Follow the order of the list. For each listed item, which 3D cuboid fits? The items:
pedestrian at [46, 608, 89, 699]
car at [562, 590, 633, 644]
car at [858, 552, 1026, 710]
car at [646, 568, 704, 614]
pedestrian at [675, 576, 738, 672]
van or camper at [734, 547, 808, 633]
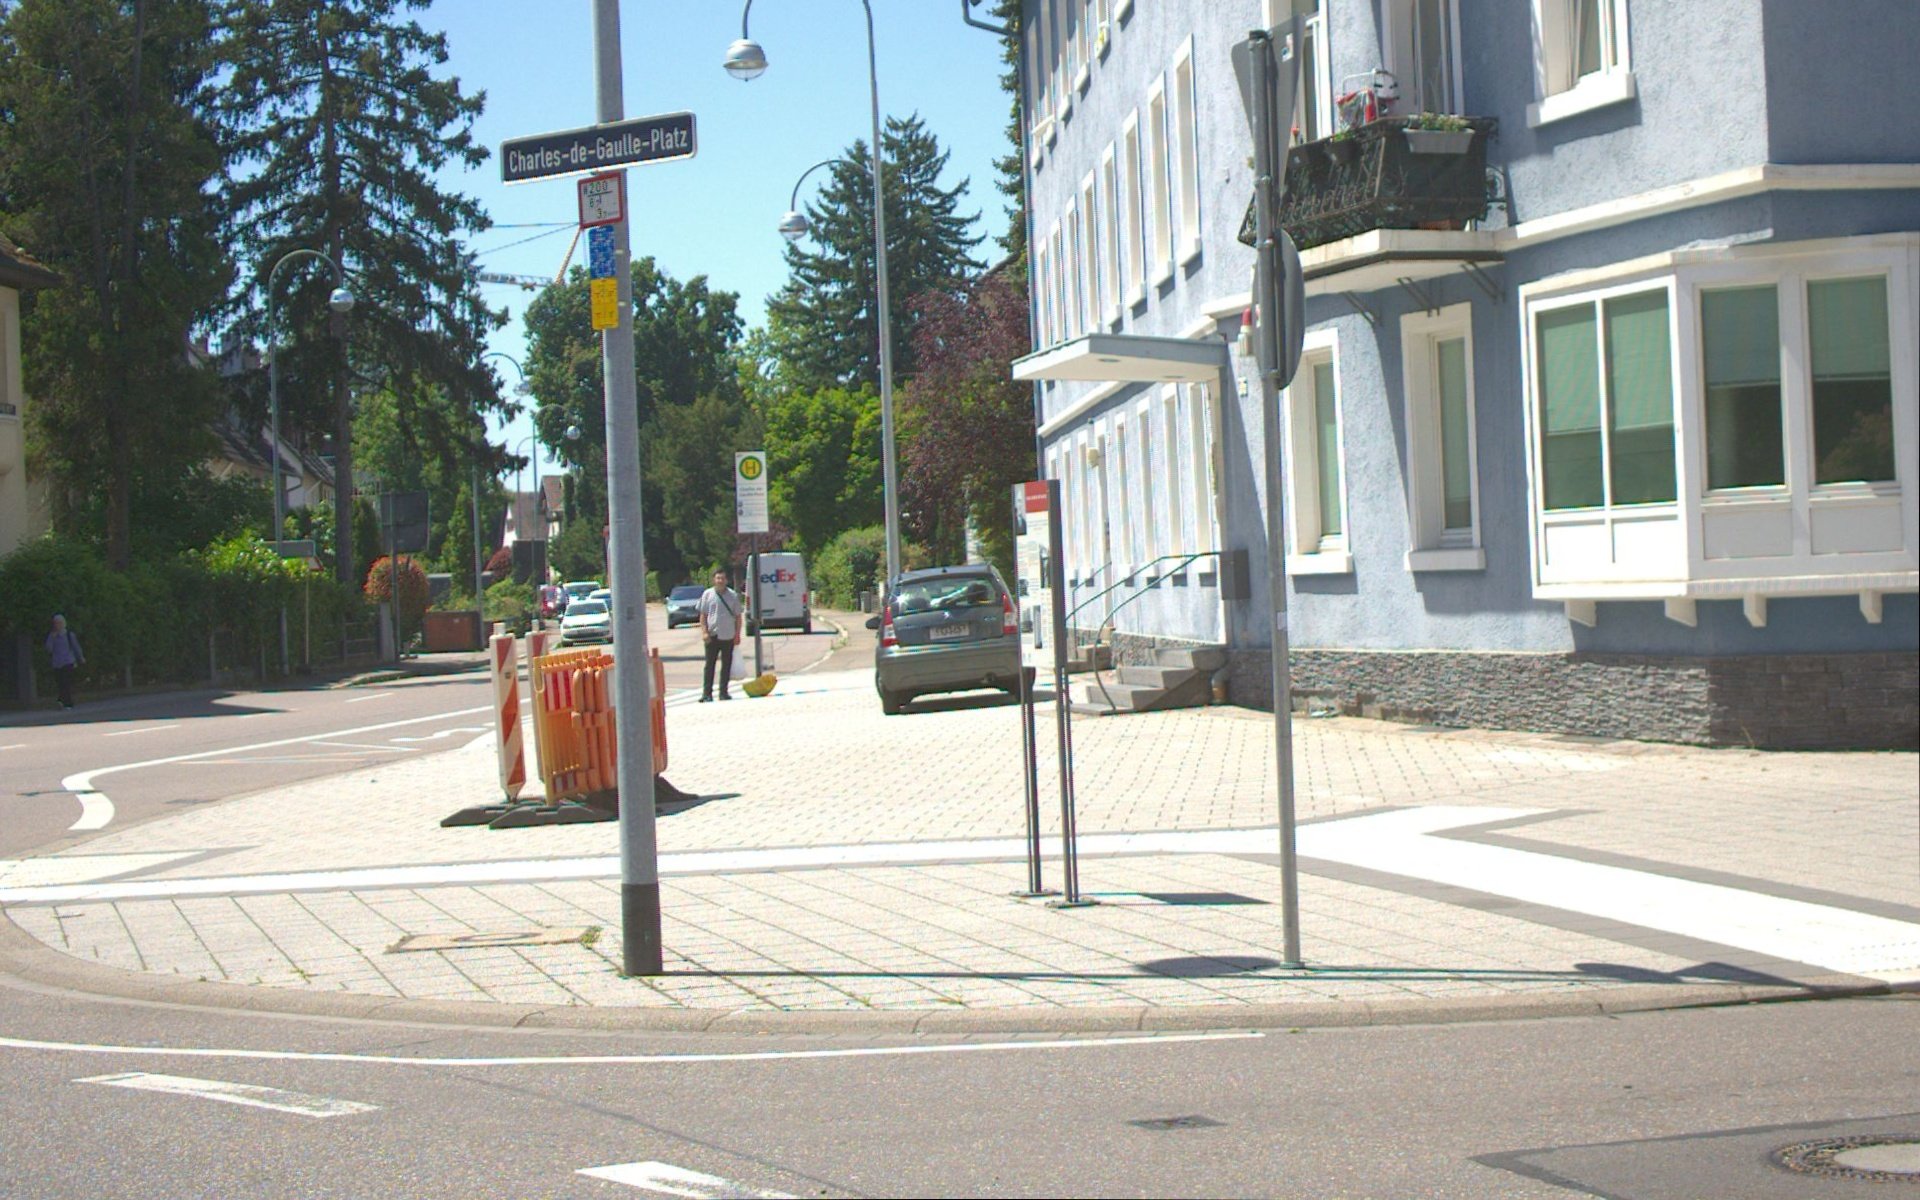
[{"bbox_3d":[-14.994,0.892,57.754,0.523,1.504,0.473,-2,0,5],"label":"pedestrian"},{"bbox_3d":[-11.733,0.527,111.535,1.993,1.645,4.000,-2,0,-3],"label":"car"},{"bbox_3d":[-0.227,0.300,38.045,1.640,1.502,3.564,-5,1,-1],"label":"car"},{"bbox_3d":[-11.158,-0.359,134.859,1.993,1.711,4.000,-2,0,-2],"label":"car"},{"bbox_3d":[-3.581,0.341,48.596,0.666,1.281,0.587,-6,1,6],"label":"pedestrian"},{"bbox_3d":[-5.959,-0.308,108.367,2.205,2.602,4.000,-2,0,-3],"label":"van or camper"}]
